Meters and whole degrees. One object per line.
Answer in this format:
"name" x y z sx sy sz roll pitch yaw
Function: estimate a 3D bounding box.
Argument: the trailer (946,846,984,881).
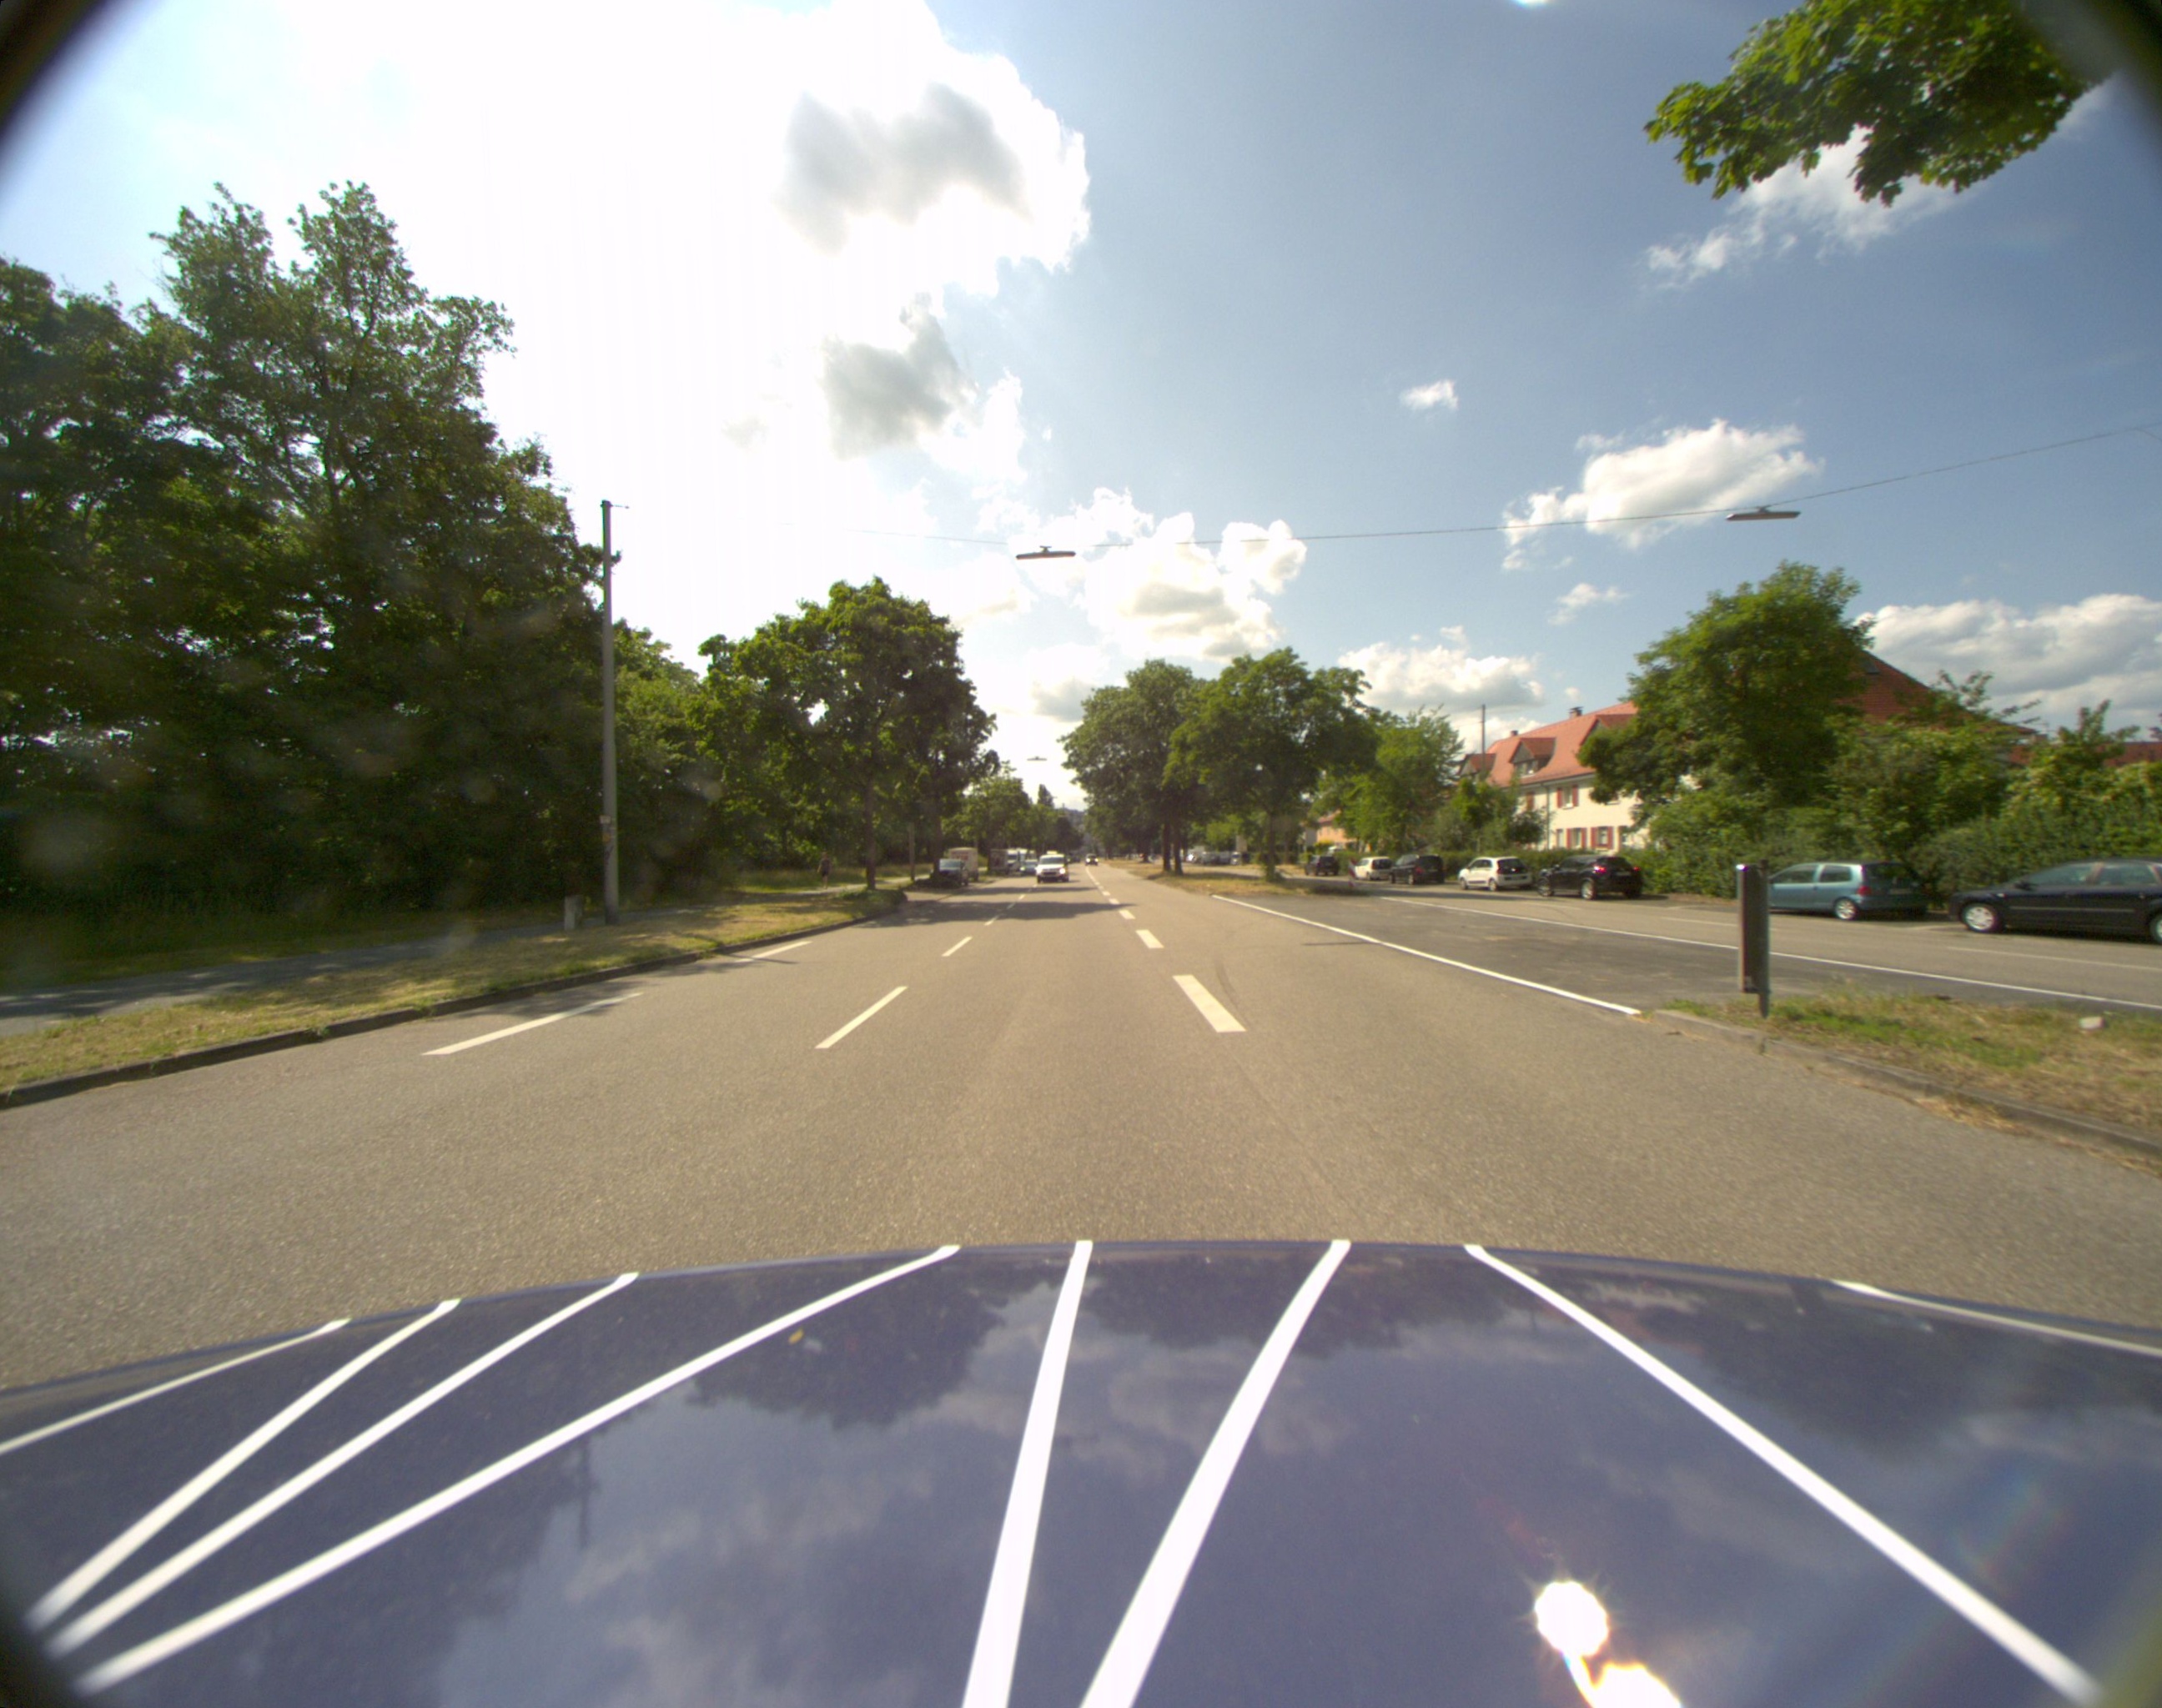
"trailer" -7.948 0.617 52.446 1.958 2.338 4.605 1 1 -1

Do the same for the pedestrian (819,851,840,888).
"pedestrian" -12.495 0.750 37.766 0.719 1.783 0.740 -3 1 -1

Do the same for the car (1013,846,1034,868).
"car" -7.612 0.362 100.854 2.262 2.787 6.767 2 1 0

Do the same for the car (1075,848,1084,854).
"car" -0.439 -0.683 165.639 1.892 1.281 3.999 -3 1 0

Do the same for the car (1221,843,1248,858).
"car" 22.485 -0.452 111.283 4.007 2.002 1.800 -3 1 -42

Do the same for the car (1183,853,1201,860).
"car" 22.740 0.503 155.850 1.668 1.341 3.827 -2 1 42

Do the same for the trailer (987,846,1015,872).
"trailer" -7.652 0.463 73.269 1.998 2.352 4.781 3 1 0

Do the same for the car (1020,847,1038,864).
"car" -7.791 0.207 114.984 2.262 2.526 6.767 1 1 0

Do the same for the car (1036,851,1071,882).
"car" -1.714 0.775 49.080 1.935 1.774 4.716 -3 0 1

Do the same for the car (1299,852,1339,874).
"car" 18.518 0.695 59.183 1.772 1.543 3.999 -3 1 0

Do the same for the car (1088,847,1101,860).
"car" 2.108 -0.056 114.954 1.768 1.893 4.541 -3 1 2

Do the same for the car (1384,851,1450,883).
"car" 18.610 0.681 42.252 1.664 1.603 4.313 -3 1 0

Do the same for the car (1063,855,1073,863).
"car" -2.449 0.916 144.871 1.892 1.281 3.999 -3 1 0

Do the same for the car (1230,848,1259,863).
"car" 21.887 0.202 101.814 4.008 1.849 1.800 -2 0 -42

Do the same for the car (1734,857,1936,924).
"car" 18.550 0.828 18.925 1.566 1.387 3.477 -3 1 0

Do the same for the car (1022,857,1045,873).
"car" -4.358 0.991 69.950 1.892 1.281 3.999 -3 1 0

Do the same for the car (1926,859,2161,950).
"car" 18.337 0.840 13.661 1.406 1.386 4.357 -3 0 0

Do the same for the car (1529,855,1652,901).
"car" 18.508 0.818 27.847 1.664 1.472 4.103 -3 0 0

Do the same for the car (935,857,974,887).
"car" -7.628 1.044 46.047 1.595 1.681 4.361 0 1 1

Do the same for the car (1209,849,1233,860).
"car" 21.673 0.060 117.589 4.007 1.390 1.569 -3 1 -42

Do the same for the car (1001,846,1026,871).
"car" -7.712 0.466 87.421 2.181 2.680 6.150 -3 1 0

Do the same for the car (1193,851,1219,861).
"car" 20.613 0.354 125.107 3.997 1.502 1.800 -3 1 1

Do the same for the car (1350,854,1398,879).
"car" 18.658 0.755 48.481 1.598 1.452 3.534 -3 1 0

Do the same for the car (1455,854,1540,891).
"car" 18.839 0.802 34.556 1.664 1.443 3.846 -3 1 0

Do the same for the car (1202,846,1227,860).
"car" 21.102 -0.191 120.095 4.007 2.002 1.800 -3 1 -42

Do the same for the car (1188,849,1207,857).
"car" 22.711 -0.240 147.965 1.668 1.455 3.827 -2 1 42

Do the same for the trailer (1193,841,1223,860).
"trailer" 22.920 -0.662 137.103 2.820 3.090 5.764 -3 0 39
